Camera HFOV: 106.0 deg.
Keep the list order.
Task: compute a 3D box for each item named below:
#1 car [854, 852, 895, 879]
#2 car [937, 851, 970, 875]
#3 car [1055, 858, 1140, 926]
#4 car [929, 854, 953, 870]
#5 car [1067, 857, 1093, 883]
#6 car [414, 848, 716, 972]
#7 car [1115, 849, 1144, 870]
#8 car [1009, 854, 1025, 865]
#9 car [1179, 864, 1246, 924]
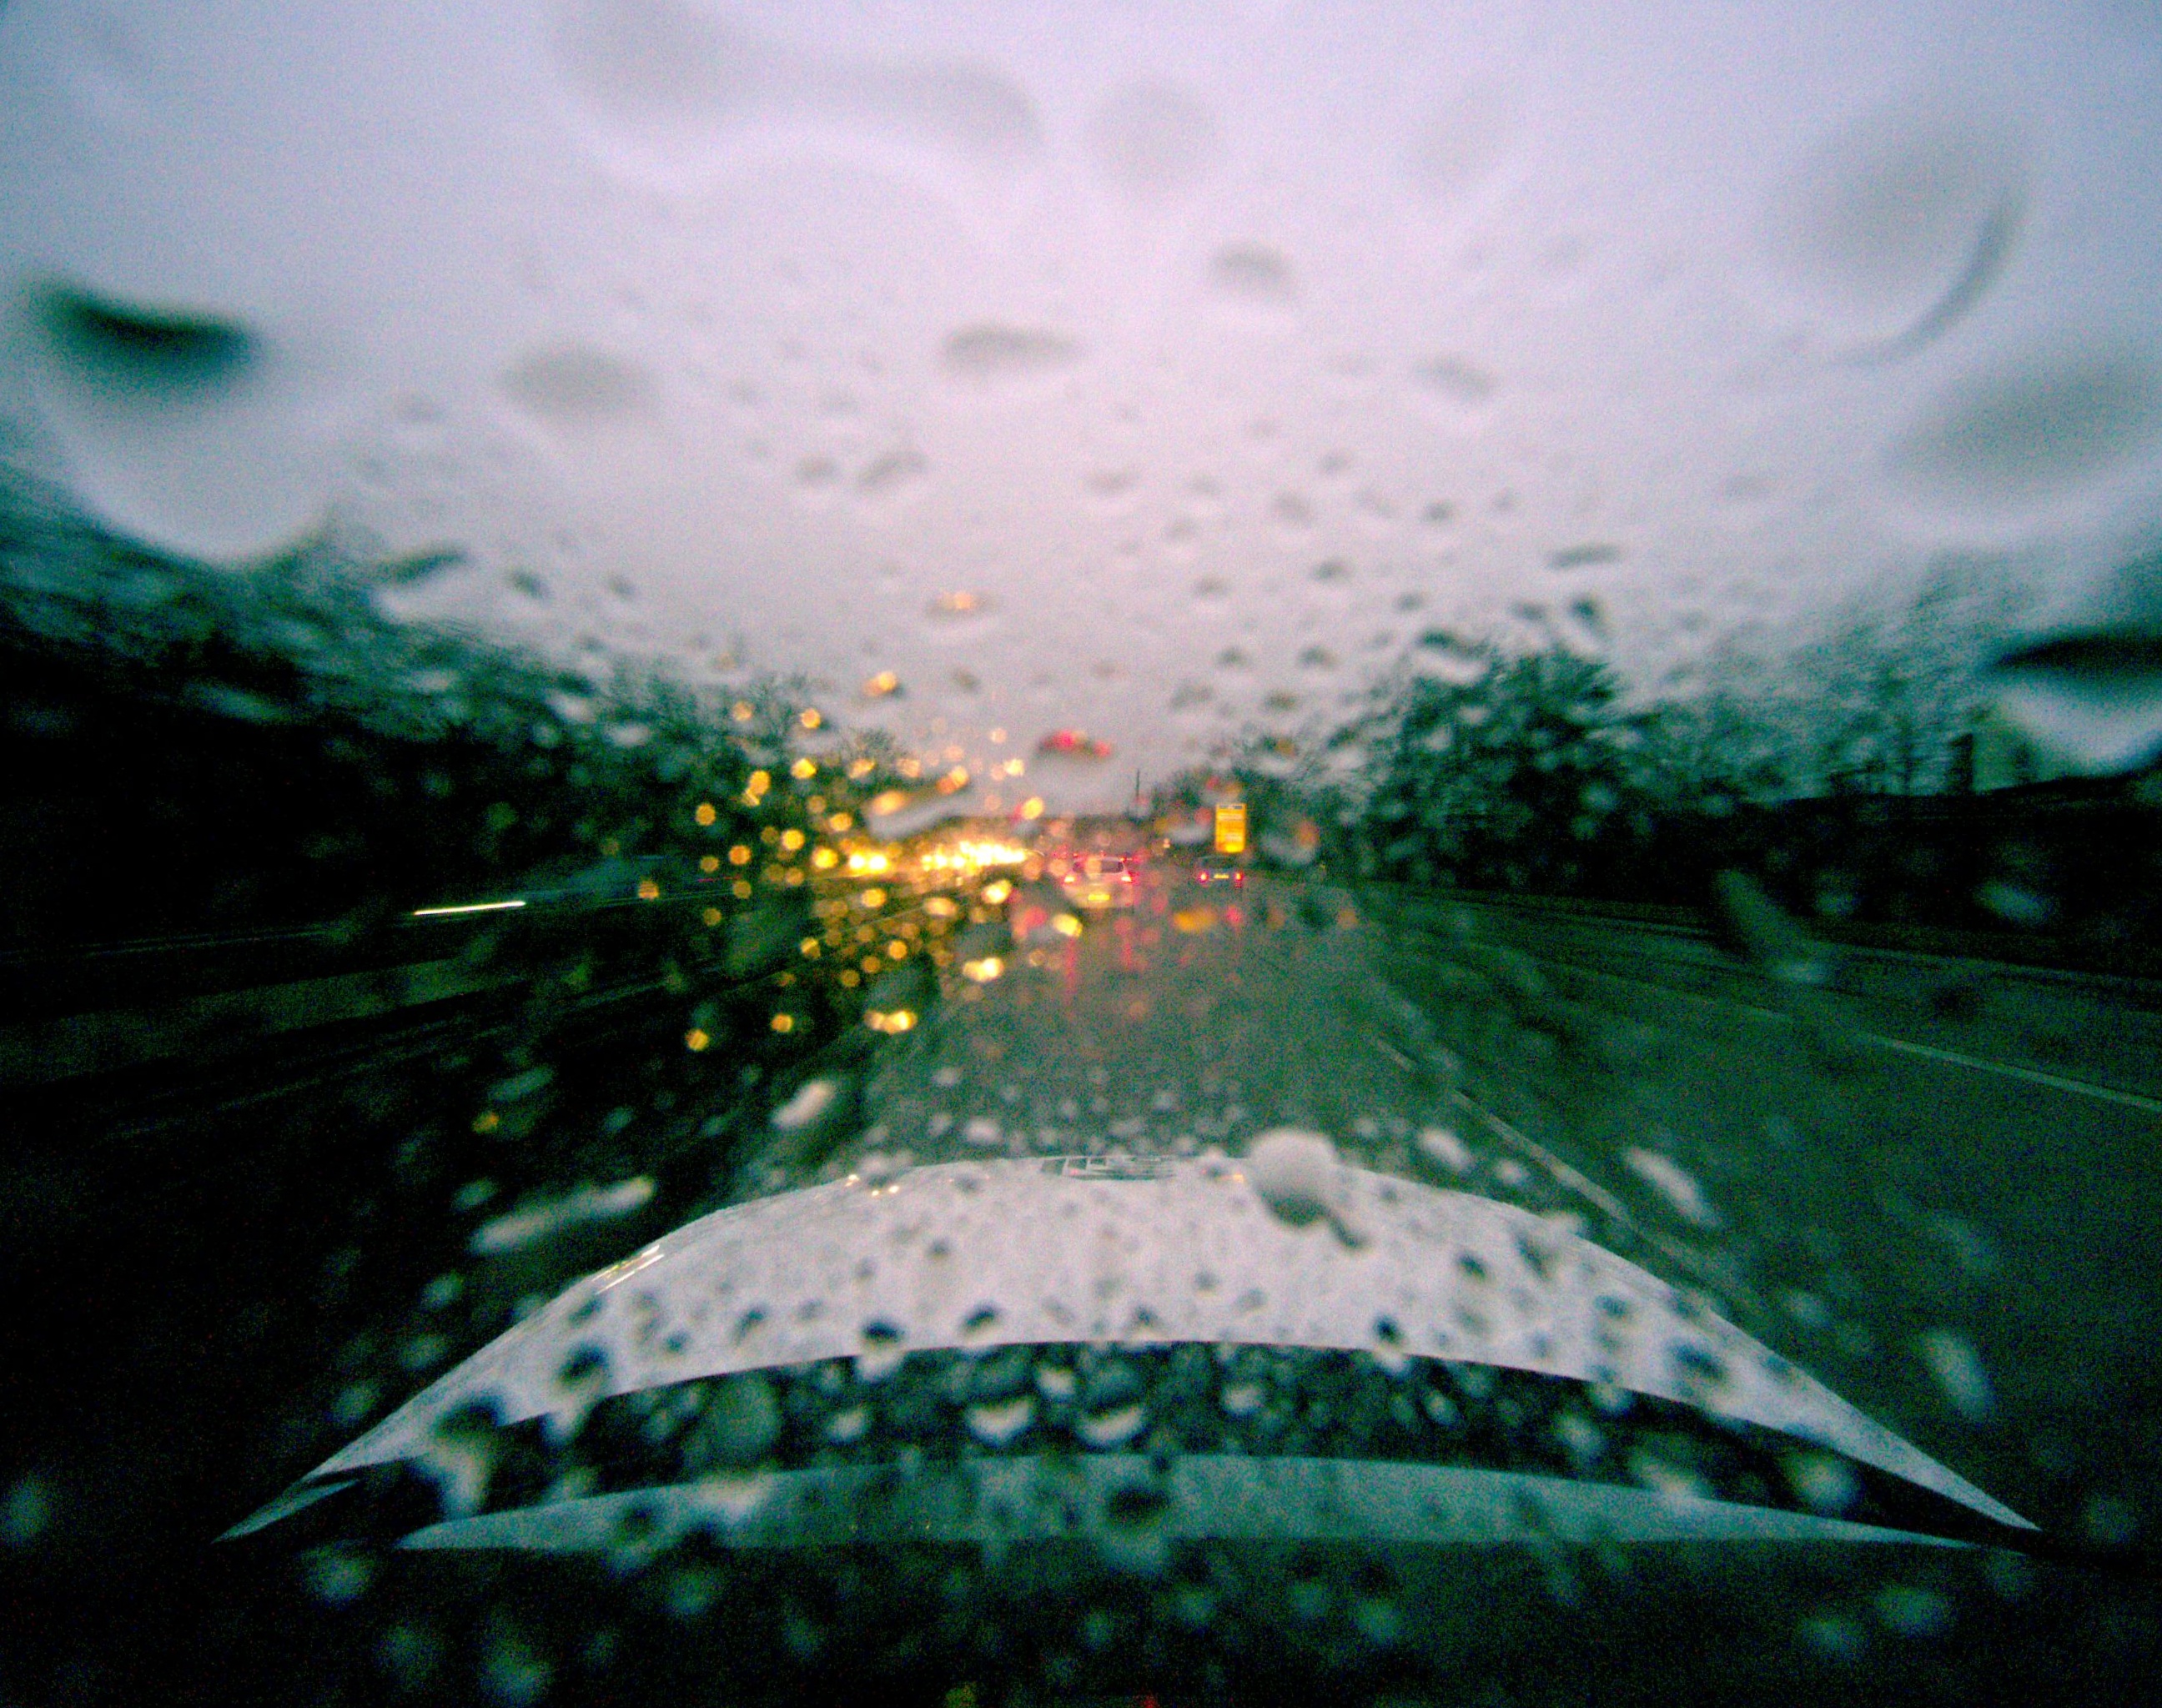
[{"bbox_3d":[-14.266,0.779,56.573,1.876,1.832,4.780,1,0,-4],"label":"car"},{"bbox_3d":[-10.274,0.703,66.099,1.877,1.832,4.787,1,0,0],"label":"car"},{"bbox_3d":[0.516,0.922,21.471,2.016,1.575,4.004,1,0,4],"label":"car"},{"bbox_3d":[-14.795,0.838,86.162,1.857,1.539,4.112,1,0,0],"label":"car"},{"bbox_3d":[-0.116,1.257,66.055,1.987,2.014,3.998,1,0,-1],"label":"car"},{"bbox_3d":[-7.346,0.707,12.191,1.776,1.510,4.136,1,0,1],"label":"car"},{"bbox_3d":[4.186,0.513,70.449,1.929,1.546,3.768,-5,-2,-3],"label":"car"},{"bbox_3d":[-8.503,0.750,108.079,1.749,1.441,3.999,1,0,0],"label":"car"},{"bbox_3d":[4.746,1.383,29.831,1.925,2.019,3.774,1,0,1],"label":"car"}]
